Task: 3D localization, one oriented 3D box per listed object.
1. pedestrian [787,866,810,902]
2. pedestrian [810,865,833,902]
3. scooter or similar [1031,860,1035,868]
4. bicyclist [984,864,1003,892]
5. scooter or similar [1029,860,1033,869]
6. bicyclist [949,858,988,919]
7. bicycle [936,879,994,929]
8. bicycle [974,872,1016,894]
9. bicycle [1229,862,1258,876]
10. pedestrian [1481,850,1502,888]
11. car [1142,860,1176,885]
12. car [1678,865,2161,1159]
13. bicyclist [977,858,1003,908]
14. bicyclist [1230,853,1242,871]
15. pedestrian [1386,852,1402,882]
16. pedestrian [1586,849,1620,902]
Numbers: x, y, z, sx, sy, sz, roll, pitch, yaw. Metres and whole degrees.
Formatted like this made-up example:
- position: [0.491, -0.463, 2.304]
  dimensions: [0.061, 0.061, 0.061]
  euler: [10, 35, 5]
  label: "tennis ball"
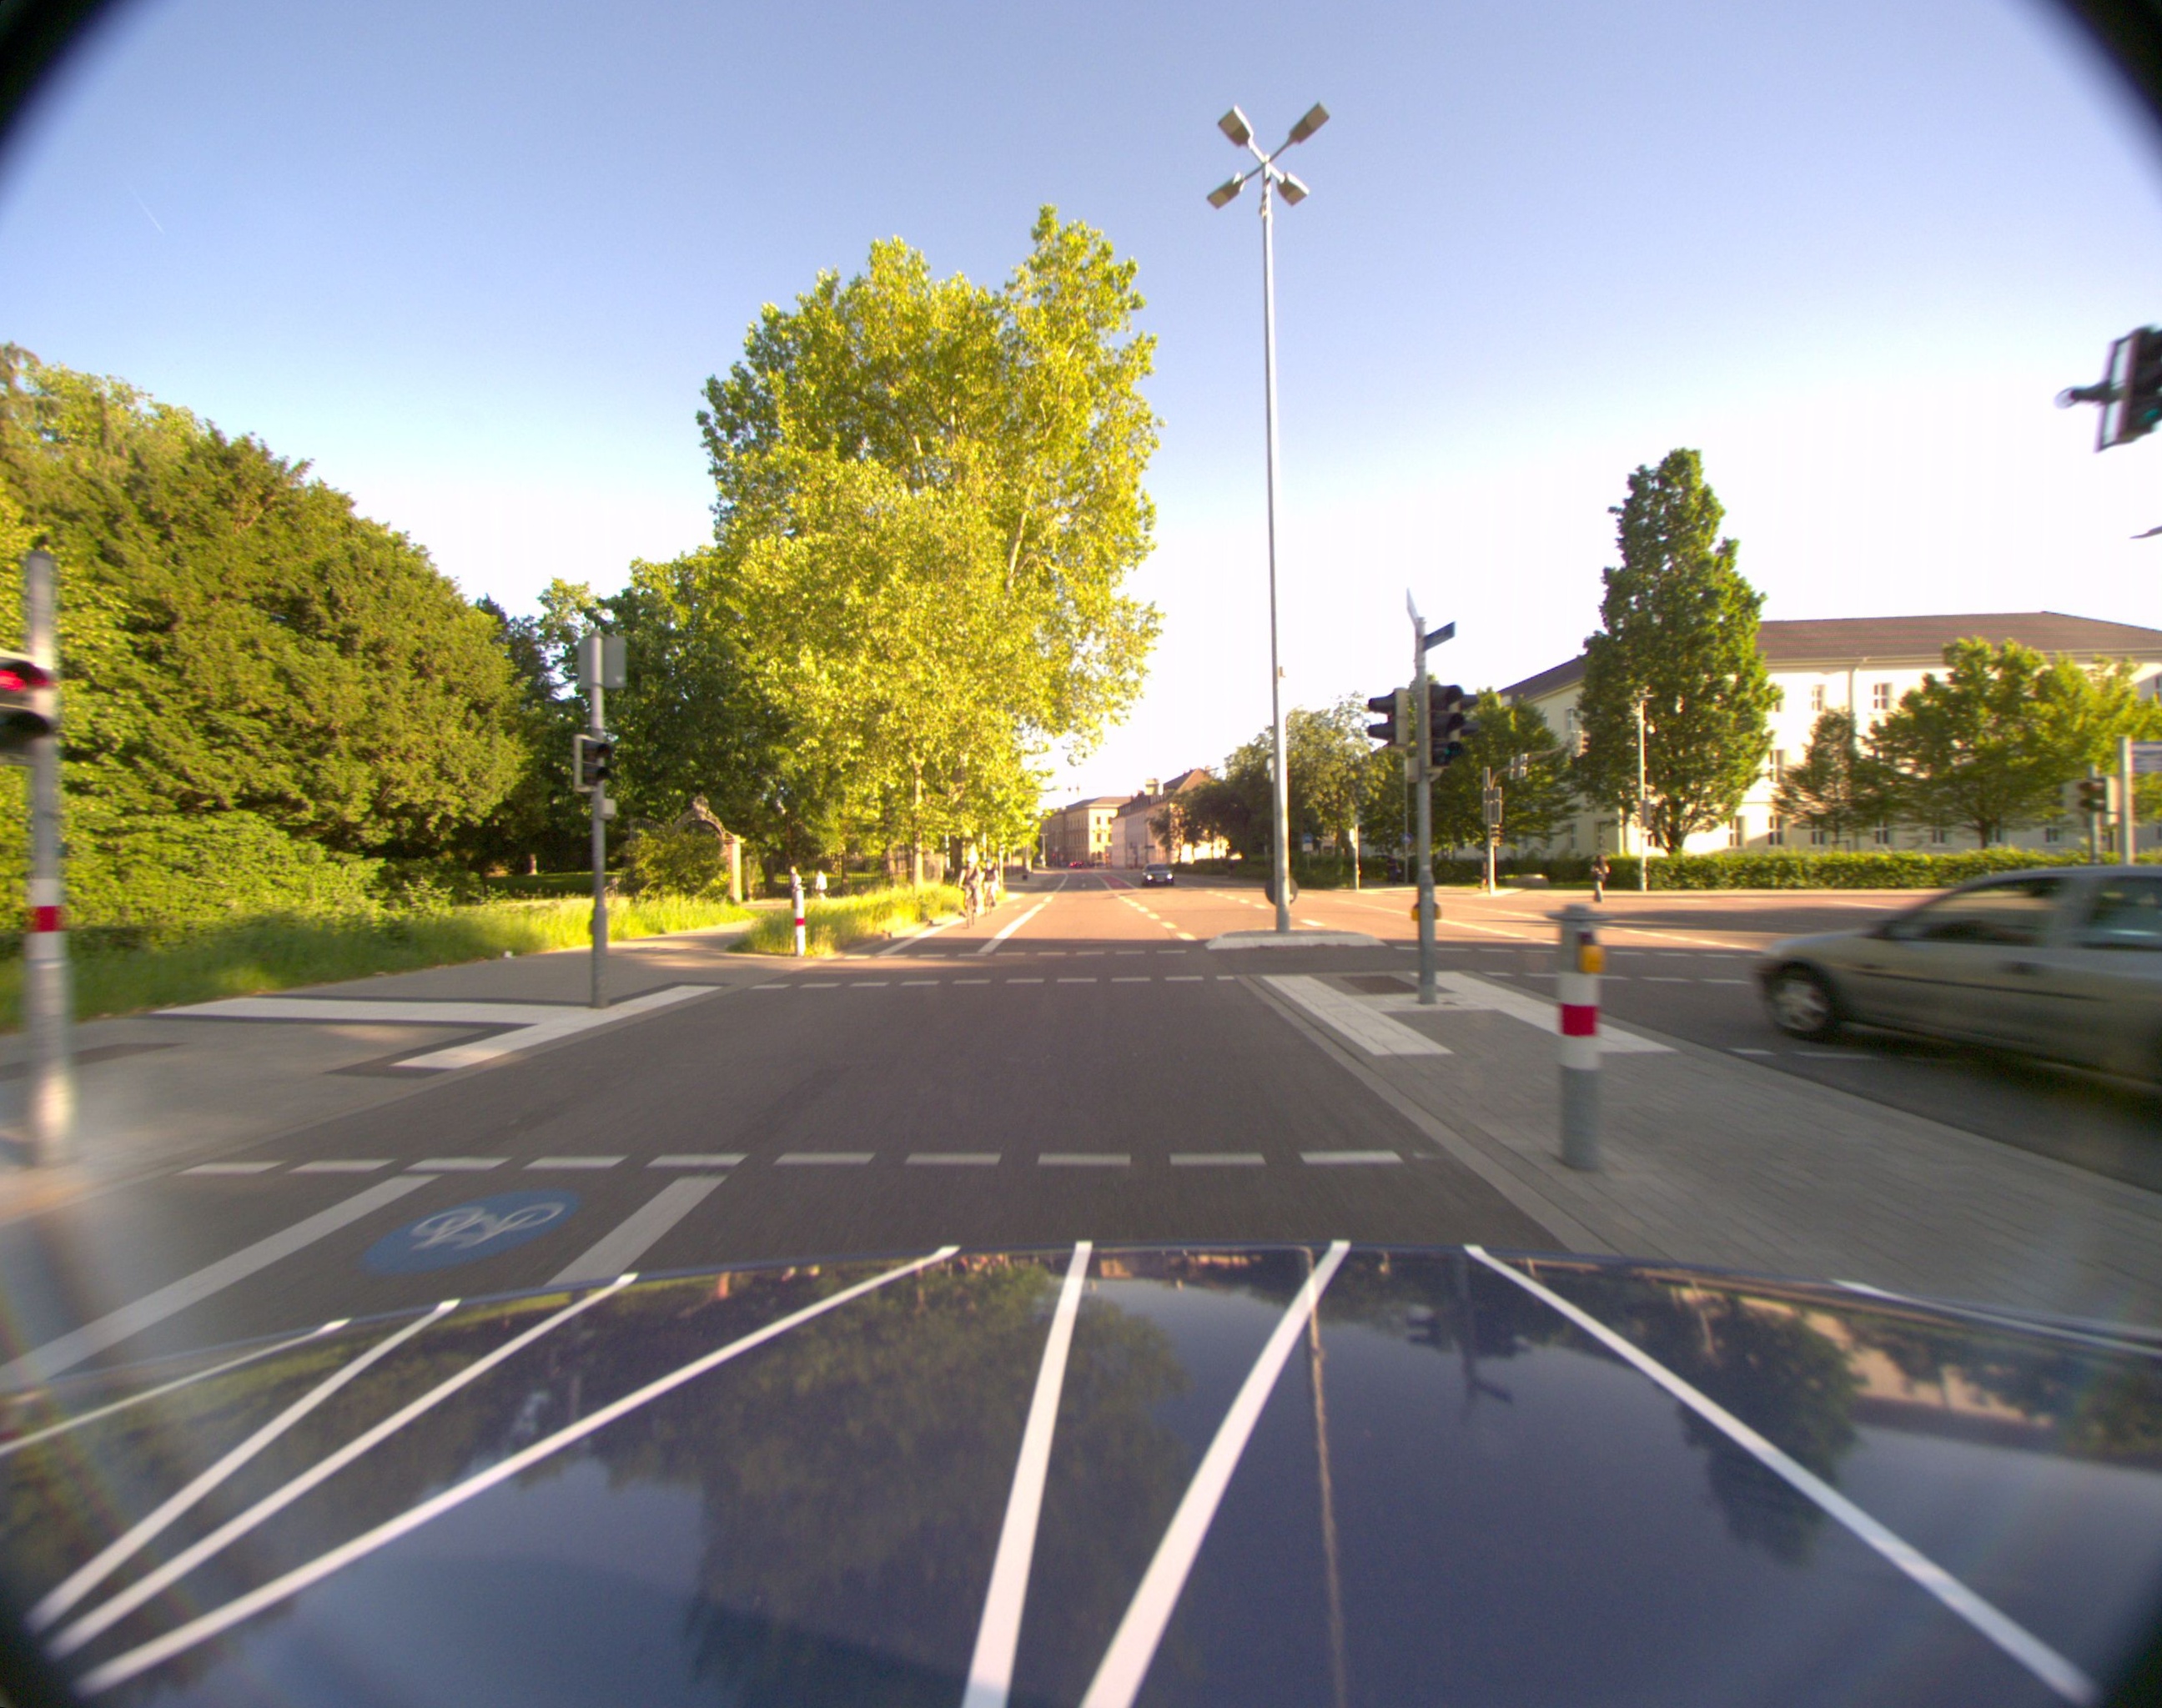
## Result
- position: [-12.689, 1.347, 34.173]
  dimensions: [0.691, 1.624, 0.681]
  euler: [0, 1, 9]
  label: "pedestrian"
- position: [-10.971, 1.256, 32.128]
  dimensions: [0.691, 1.537, 0.681]
  euler: [0, 1, 9]
  label: "pedestrian"
- position: [-6.403, 1.357, 101.757]
  dimensions: [0.416, 1.035, 1.779]
  euler: [-3, 0, 1]
  label: "scooter or similar"
- position: [-4.451, 1.223, 38.742]
  dimensions: [0.766, 1.439, 0.696]
  euler: [0, 1, 8]
  label: "bicyclist"
- position: [-6.539, 1.366, 99.101]
  dimensions: [0.416, 1.035, 1.779]
  euler: [-3, 0, 1]
  label: "scooter or similar"
- position: [-2.790, 0.851, 18.907]
  dimensions: [0.694, 1.482, 0.801]
  euler: [0, 1, 12]
  label: "bicyclist"
- position: [-2.828, 1.203, 18.774]
  dimensions: [0.694, 1.089, 2.138]
  euler: [0, 0, 12]
  label: "bicycle"
- position: [-4.388, 1.452, 38.743]
  dimensions: [1.988, 1.089, 0.696]
  euler: [-1, 0, 7]
  label: "bicycle"
- position: [13.190, 1.234, 61.827]
  dimensions: [2.184, 1.110, 0.699]
  euler: [-1, 0, 27]
  label: "bicycle"
- position: [19.353, 0.706, 35.851]
  dimensions: [0.691, 1.805, 0.681]
  euler: [-1, 0, 9]
  label: "pedestrian"
- position: [4.782, 1.118, 47.082]
  dimensions: [1.722, 1.409, 4.527]
  euler: [-2, 0, 1]
  label: "car"
- position: [6.369, 0.857, 4.875]
  dimensions: [1.714, 1.413, 4.556]
  euler: [3, 0, 5]
  label: "car"
- position: [-2.786, 0.879, 23.377]
  dimensions: [0.695, 1.492, 0.892]
  euler: [-1, 0, -2]
  label: "bicyclist"
- position: [12.677, 0.614, 62.107]
  dimensions: [0.756, 1.457, 0.699]
  euler: [0, 1, 28]
  label: "bicyclist"
- position: [17.441, 0.706, 42.387]
  dimensions: [0.691, 1.672, 0.681]
  euler: [-1, 1, 9]
  label: "pedestrian"
- position: [18.183, 0.734, 26.486]
  dimensions: [0.744, 1.805, 0.727]
  euler: [-1, 0, 9]
  label: "pedestrian"
